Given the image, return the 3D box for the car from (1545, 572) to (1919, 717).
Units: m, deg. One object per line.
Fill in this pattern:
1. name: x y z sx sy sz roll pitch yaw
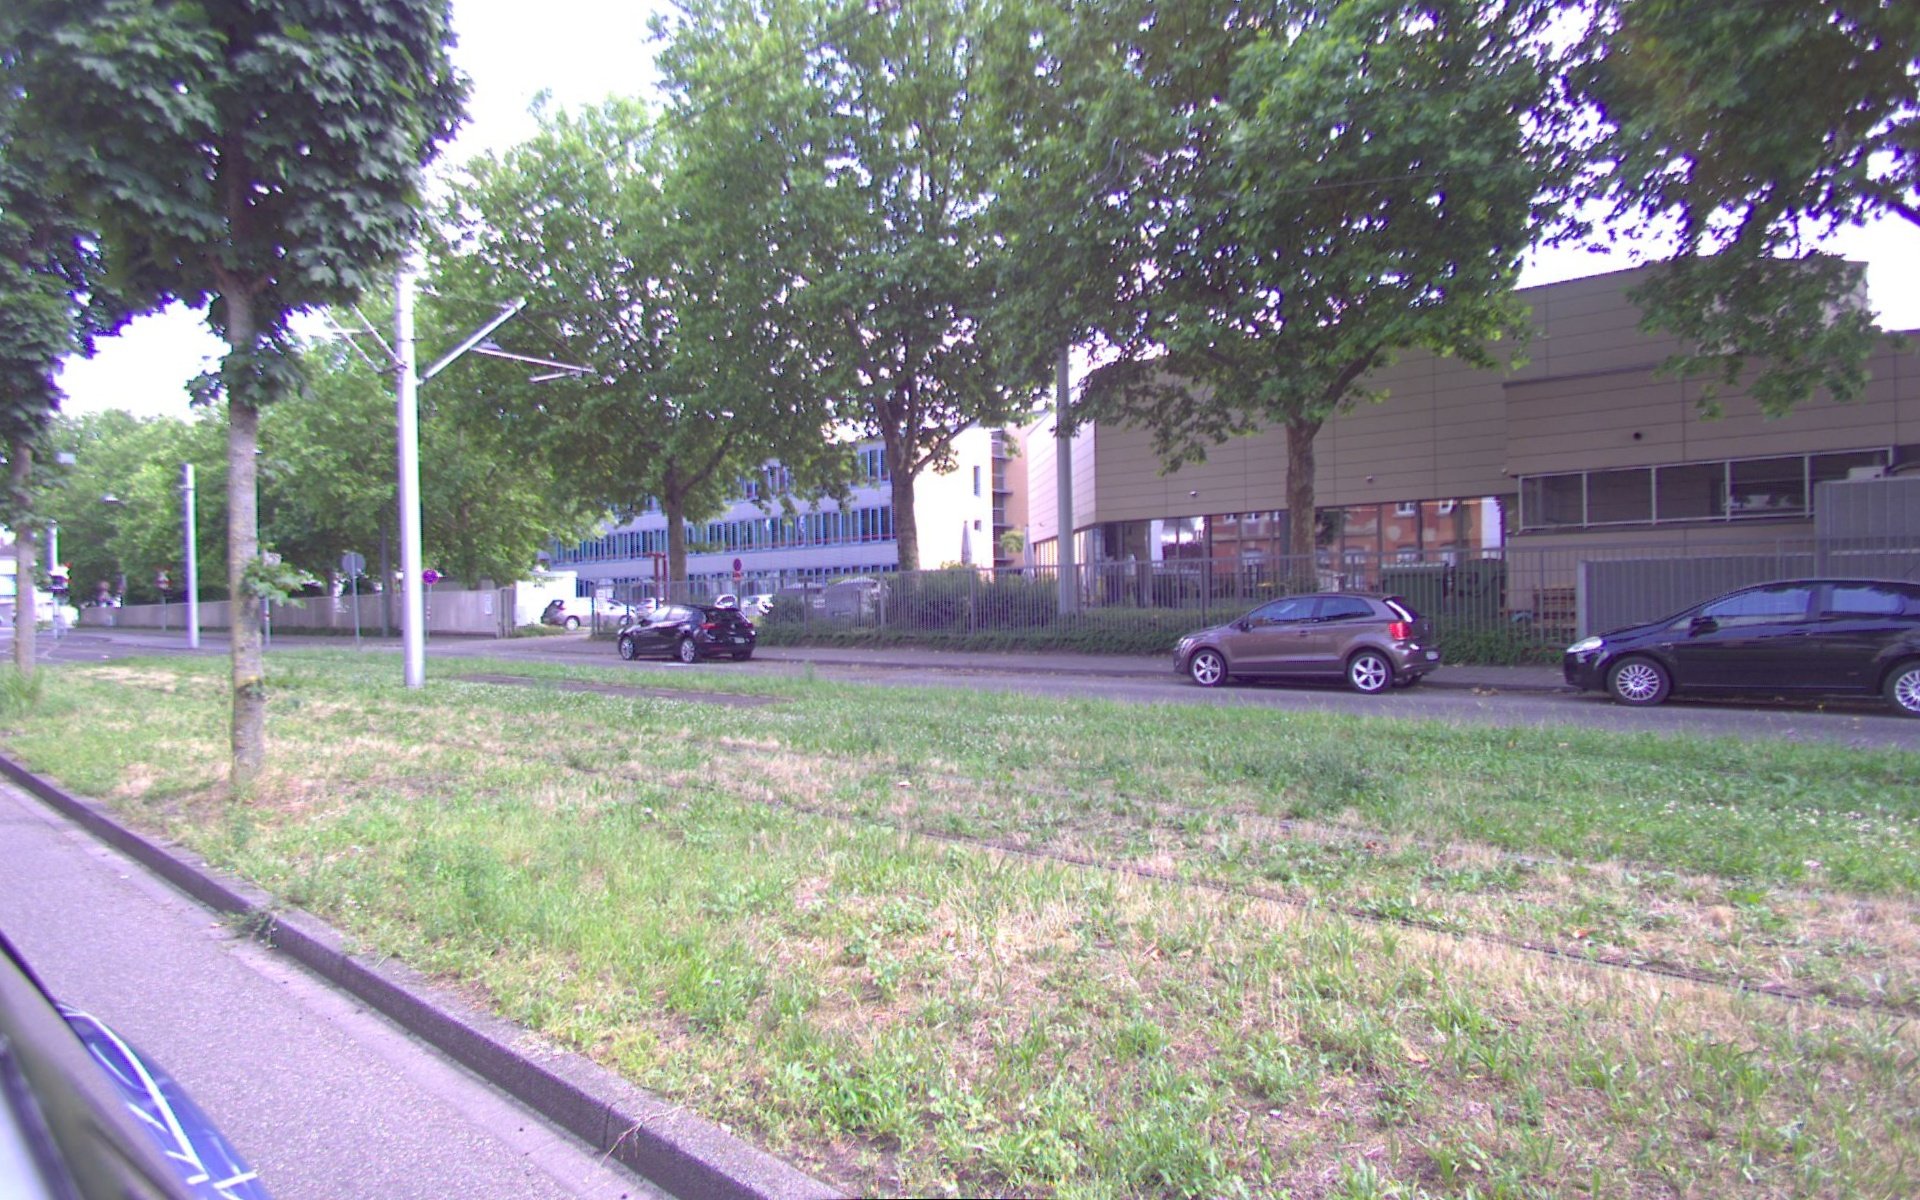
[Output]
1. car: 9.317 0.461 11.812 4.000 1.464 1.783 -1 0 43

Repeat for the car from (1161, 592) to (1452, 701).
1. car: 5.170 0.650 15.390 3.899 1.436 1.538 -1 0 40

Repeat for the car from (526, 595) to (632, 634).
1. car: -16.875 0.619 44.972 1.998 1.630 3.948 -1 0 38

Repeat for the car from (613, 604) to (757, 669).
1. car: -6.973 0.885 25.506 3.999 1.475 1.580 -1 0 42

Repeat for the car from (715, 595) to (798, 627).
1. car: -10.707 0.582 53.467 1.998 1.630 3.948 -1 0 38

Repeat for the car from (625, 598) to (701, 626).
1. car: -17.768 0.704 60.585 1.998 1.630 3.948 -1 0 38
